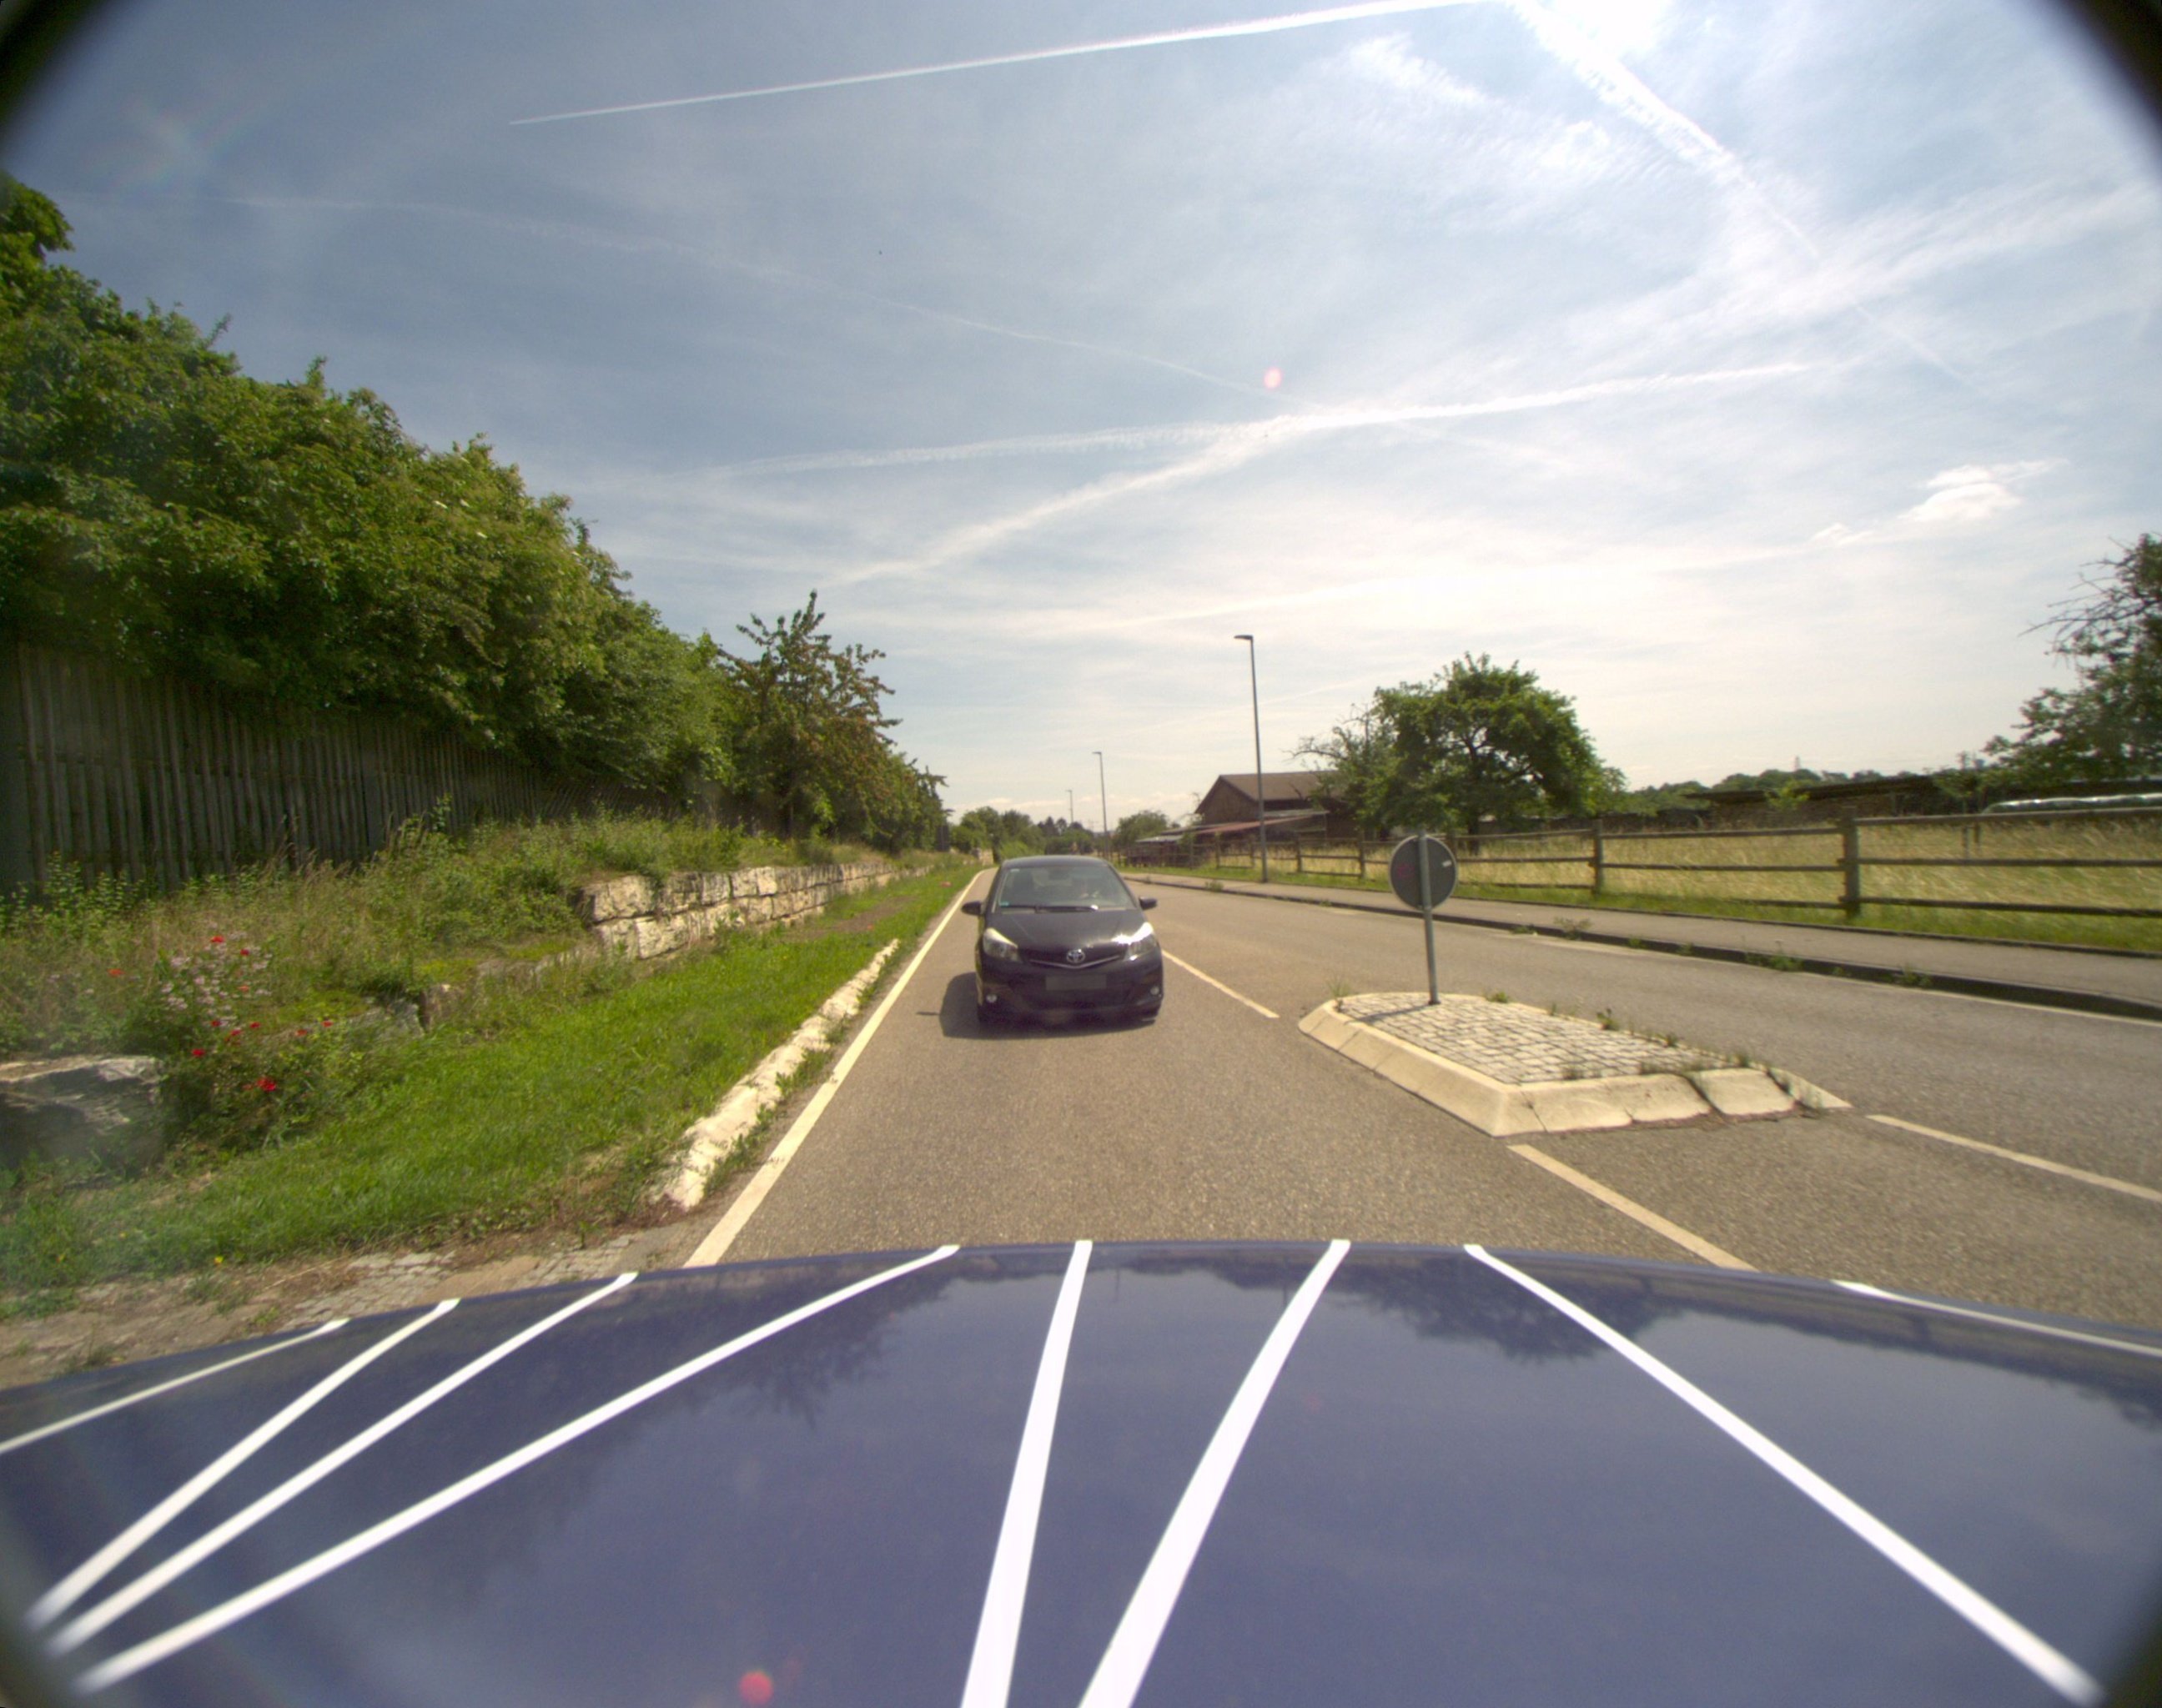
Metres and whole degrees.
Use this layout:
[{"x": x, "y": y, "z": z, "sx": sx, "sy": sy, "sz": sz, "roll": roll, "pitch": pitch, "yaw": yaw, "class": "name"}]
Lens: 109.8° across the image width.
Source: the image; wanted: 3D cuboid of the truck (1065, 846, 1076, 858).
[{"x": -2.186, "y": -0.437, "z": 164.617, "sx": 2.228, "sy": 2.280, "sz": 6.490, "roll": -2, "pitch": 1, "yaw": 0, "class": "truck"}]

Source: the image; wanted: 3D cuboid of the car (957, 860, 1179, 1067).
[{"x": -0.291, "y": 0.858, "z": 8.100, "sx": 1.678, "sy": 1.456, "sz": 4.430, "roll": -2, "pitch": 1, "yaw": -5, "class": "car"}]

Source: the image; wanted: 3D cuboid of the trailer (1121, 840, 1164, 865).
[{"x": 4.418, "y": -0.125, "z": 55.087, "sx": 2.161, "sy": 1.693, "sz": 5.026, "roll": -2, "pitch": 0, "yaw": -6, "class": "trailer"}]

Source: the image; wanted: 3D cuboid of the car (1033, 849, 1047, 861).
[{"x": -7.491, "y": 0.122, "z": 137.005, "sx": 2.192, "sy": 2.002, "sz": 4.778, "roll": -4, "pitch": 1, "yaw": -6, "class": "car"}]
